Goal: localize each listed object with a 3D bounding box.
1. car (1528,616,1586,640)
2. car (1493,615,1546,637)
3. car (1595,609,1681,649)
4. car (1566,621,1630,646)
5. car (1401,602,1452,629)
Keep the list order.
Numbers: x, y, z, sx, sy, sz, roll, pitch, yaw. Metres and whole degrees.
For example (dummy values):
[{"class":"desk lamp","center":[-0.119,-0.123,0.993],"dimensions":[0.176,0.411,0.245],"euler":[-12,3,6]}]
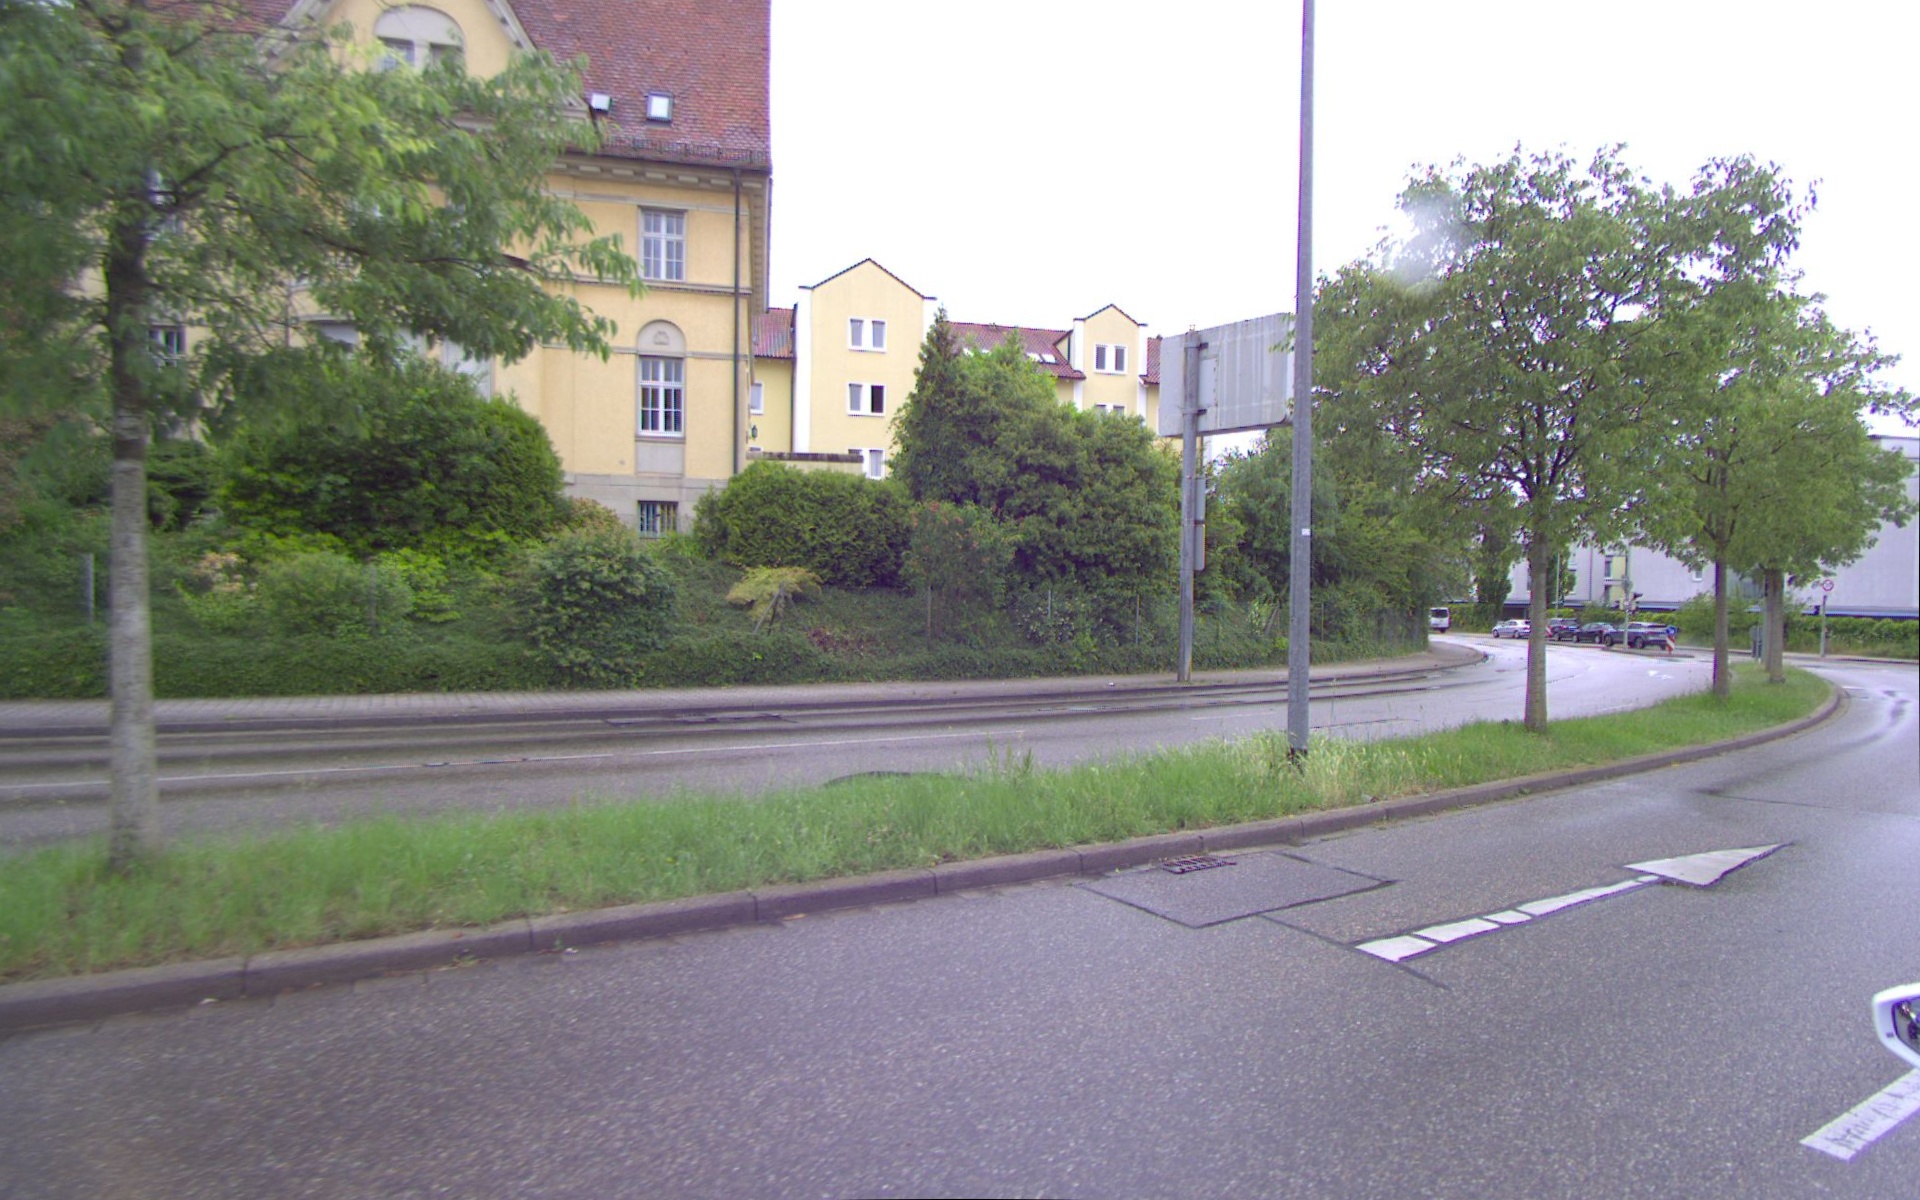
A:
[{"class":"car","center":[44.817,2.087,75.502],"dimensions":[1.961,1.576,4.000],"euler":[2,1,0]},{"class":"car","center":[44.708,2.047,80.306],"dimensions":[1.961,1.576,4.000],"euler":[2,1,0]},{"class":"car","center":[40.952,1.746,60.786],"dimensions":[1.946,2.041,3.991],"euler":[1,4,-11]},{"class":"car","center":[45.005,2.346,70.994],"dimensions":[1.961,1.576,4.000],"euler":[0,0,0]},{"class":"car","center":[44.324,1.515,95.630],"dimensions":[2.548,2.445,5.259],"euler":[1,-2,2]}]
